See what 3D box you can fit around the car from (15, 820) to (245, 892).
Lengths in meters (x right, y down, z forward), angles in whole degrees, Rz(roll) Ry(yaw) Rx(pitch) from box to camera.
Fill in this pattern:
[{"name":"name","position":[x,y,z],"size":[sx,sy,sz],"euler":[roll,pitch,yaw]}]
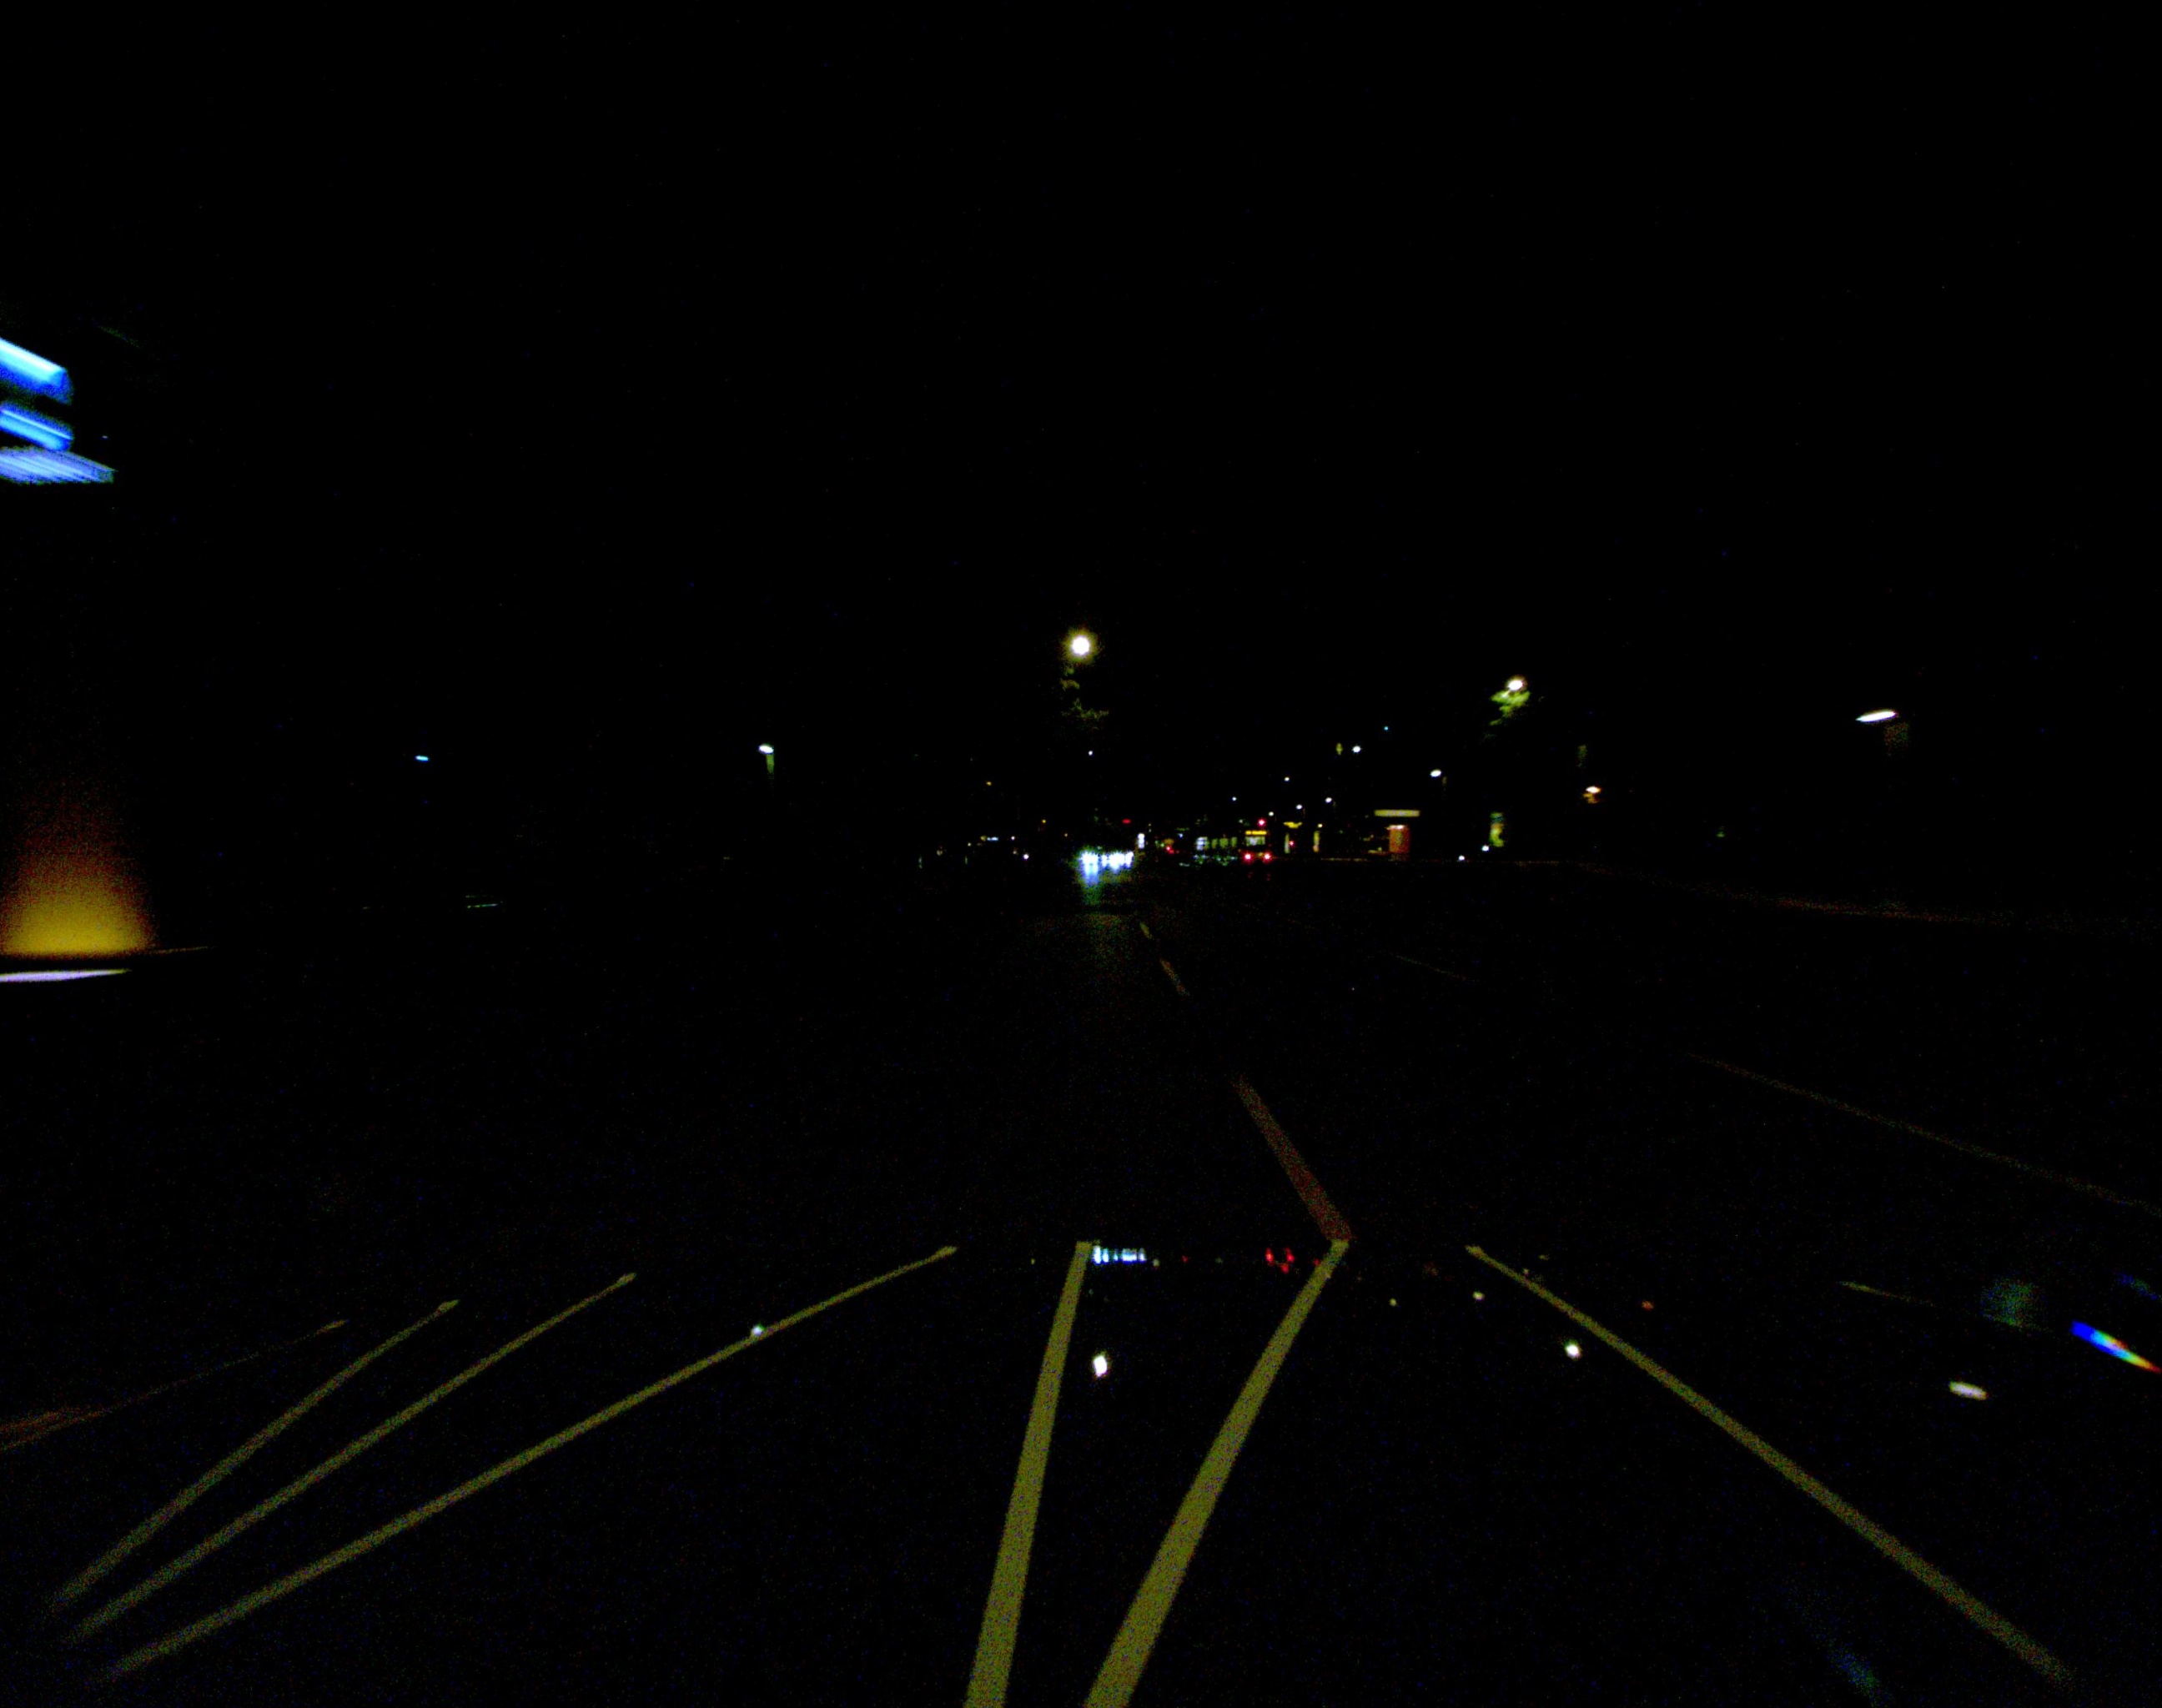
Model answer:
[{"name":"car","position":[-23.015,0.034,18.655],"size":[1.801,1.568,3.960],"euler":[1,0,-22]}]

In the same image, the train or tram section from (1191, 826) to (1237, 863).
[{"name":"train or tram section","position":[15.667,-1.103,91.101],"size":[2.745,3.824,19.364],"euler":[-2,0,2]}]

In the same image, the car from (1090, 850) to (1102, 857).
[{"name":"car","position":[2.950,-0.161,146.174],"size":[1.947,1.299,3.907],"euler":[0,1,7]}]

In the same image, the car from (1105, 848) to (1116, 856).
[{"name":"car","position":[5.701,-0.346,146.128],"size":[1.858,1.482,3.560],"euler":[-2,0,7]}]

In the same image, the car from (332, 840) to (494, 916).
[{"name":"car","position":[-16.541,0.528,19.071],"size":[1.813,1.702,3.960],"euler":[1,0,-22]}]

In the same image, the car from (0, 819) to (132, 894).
[{"name":"car","position":[-25.290,0.014,17.968],"size":[1.785,1.592,3.960],"euler":[4,-1,-22]}]

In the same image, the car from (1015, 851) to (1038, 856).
[{"name":"car","position":[-9.550,-0.081,133.653],"size":[4.008,1.028,1.480],"euler":[0,0,-40]}]

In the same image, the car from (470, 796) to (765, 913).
[{"name":"car","position":[-11.704,0.062,19.796],"size":[6.041,2.514,2.280],"euler":[4,0,-16]}]

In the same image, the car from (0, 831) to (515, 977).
[{"name":"car","position":[-10.313,0.610,9.934],"size":[4.216,1.653,1.959],"euler":[1,0,-10]}]

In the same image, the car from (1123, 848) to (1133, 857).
[{"name":"car","position":[9.513,-0.362,154.380],"size":[1.907,1.609,3.718],"euler":[-2,1,2]}]

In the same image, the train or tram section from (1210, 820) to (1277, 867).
[{"name":"train or tram section","position":[15.013,-0.937,72.078],"size":[2.765,3.805,18.670],"euler":[-2,0,2]}]
